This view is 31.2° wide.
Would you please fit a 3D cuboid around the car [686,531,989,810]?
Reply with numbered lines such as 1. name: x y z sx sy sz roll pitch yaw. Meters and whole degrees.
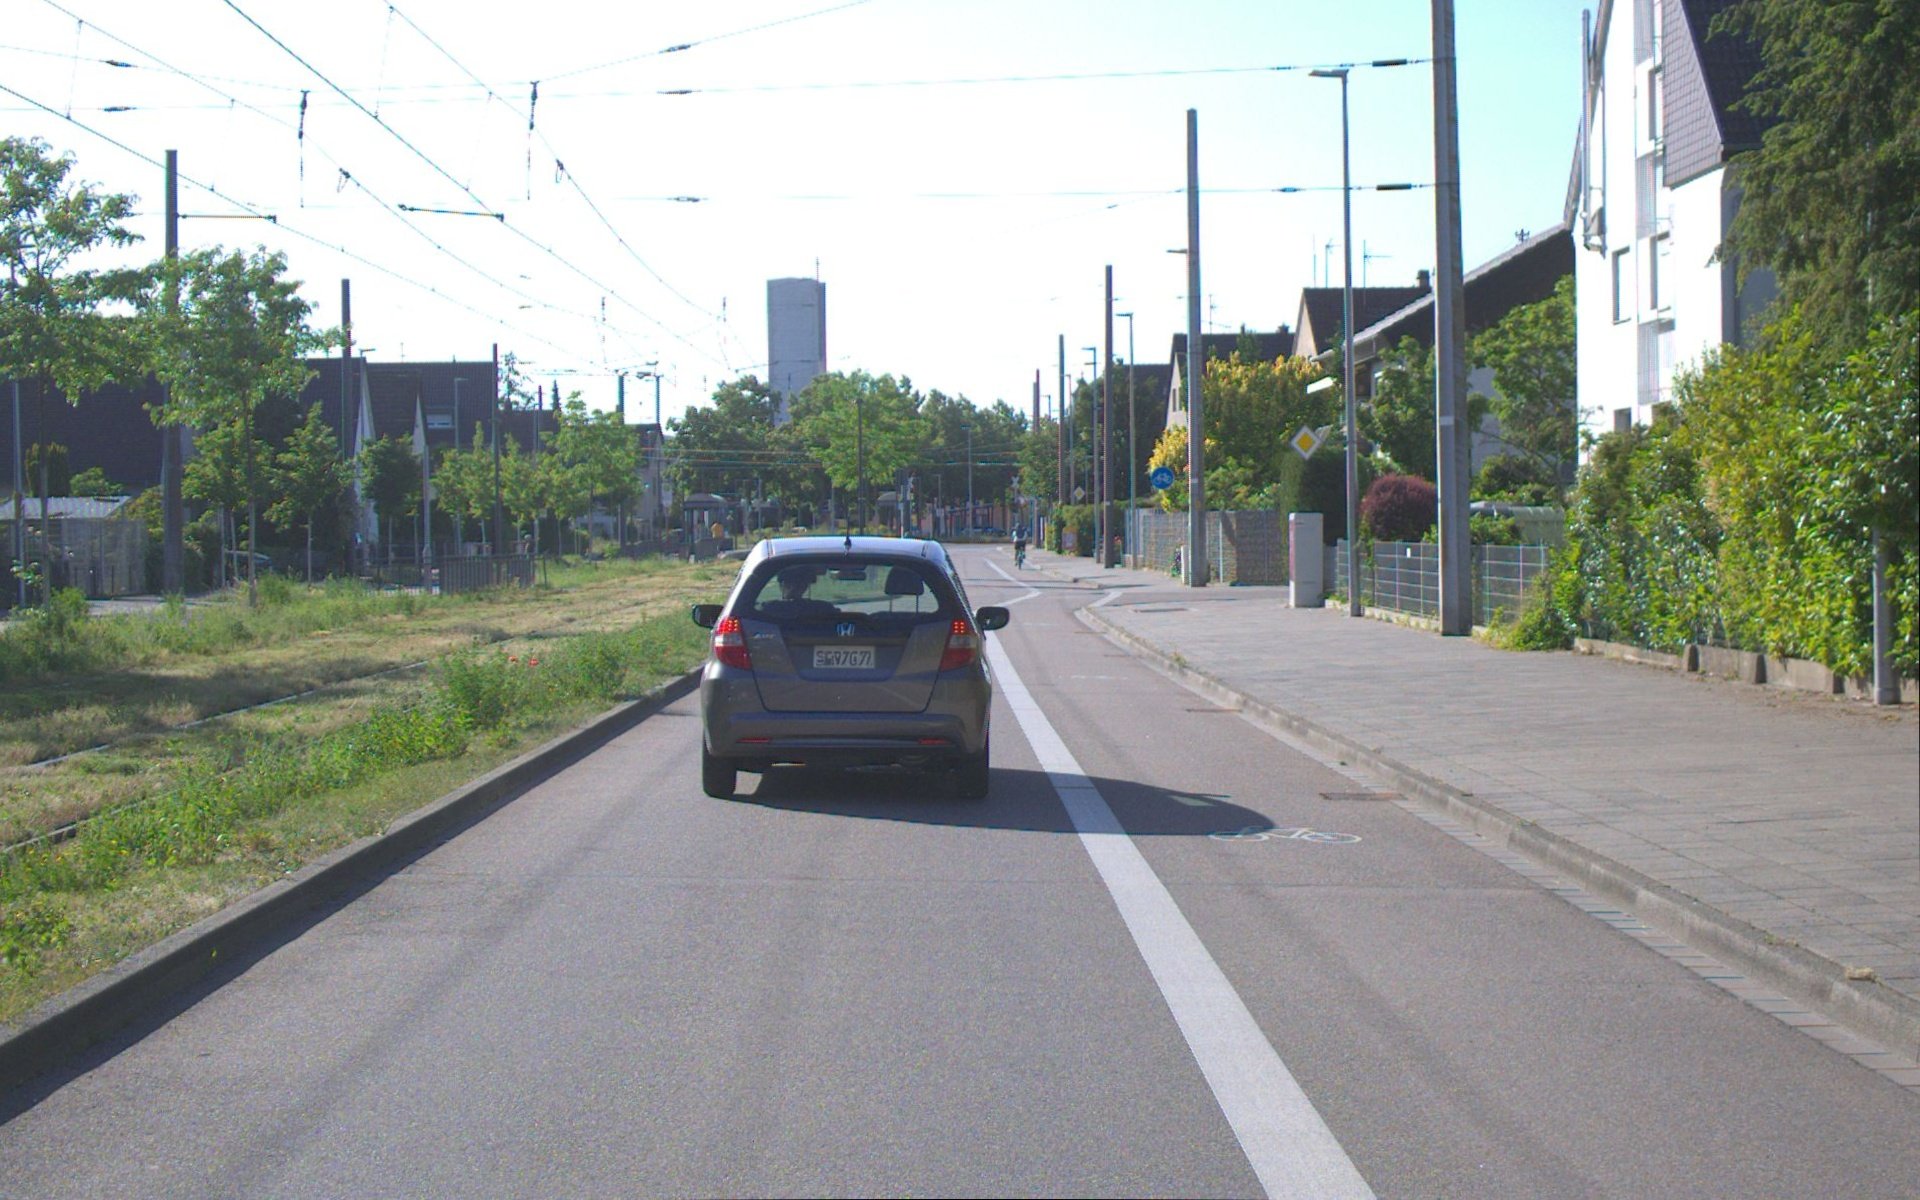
1. car: -0.742 0.377 20.959 1.670 1.530 3.487 1 1 -2

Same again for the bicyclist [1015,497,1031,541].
1. bicyclist: 2.477 -3.187 135.474 0.598 1.695 0.683 1 0 0

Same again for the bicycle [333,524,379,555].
1. bicycle: -27.316 -2.744 155.565 1.988 1.361 0.705 -1 1 -7

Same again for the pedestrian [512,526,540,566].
1. pedestrian: -17.759 -2.198 140.683 0.965 1.635 1.086 0 1 0

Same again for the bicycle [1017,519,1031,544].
1. bicycle: 2.520 -2.715 135.667 0.475 0.958 1.657 1 1 0

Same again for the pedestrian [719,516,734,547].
1. pedestrian: -11.294 -3.317 166.383 0.675 1.530 0.749 -1 1 -5
